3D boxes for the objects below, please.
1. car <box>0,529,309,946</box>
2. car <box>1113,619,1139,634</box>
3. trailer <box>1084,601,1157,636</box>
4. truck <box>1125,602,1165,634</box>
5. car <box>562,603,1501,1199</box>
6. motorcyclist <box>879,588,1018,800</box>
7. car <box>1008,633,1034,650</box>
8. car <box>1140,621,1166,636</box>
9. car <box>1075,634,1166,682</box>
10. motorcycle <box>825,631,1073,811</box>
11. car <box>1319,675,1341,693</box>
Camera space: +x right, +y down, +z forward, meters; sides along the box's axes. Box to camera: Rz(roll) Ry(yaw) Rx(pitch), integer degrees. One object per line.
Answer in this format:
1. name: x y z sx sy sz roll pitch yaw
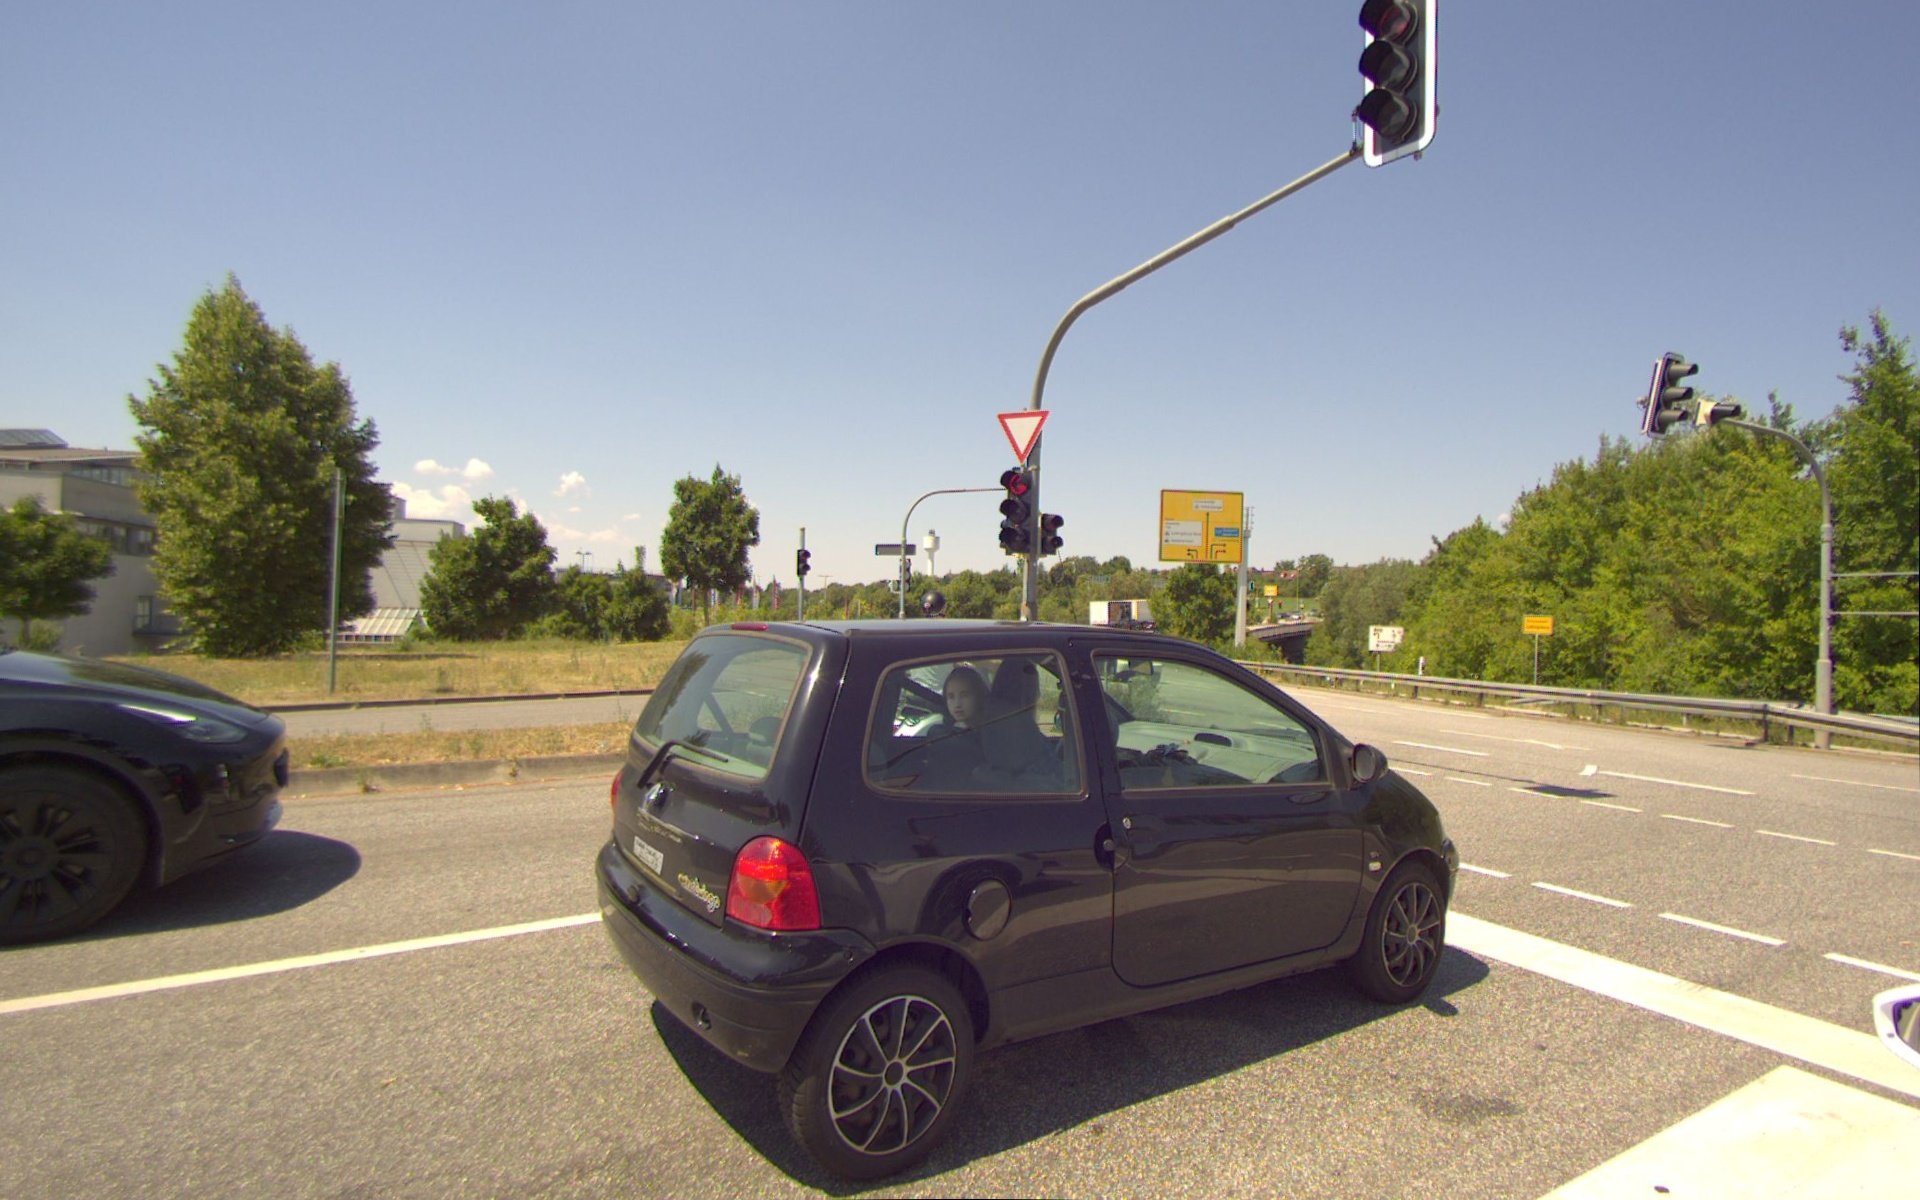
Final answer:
1. car: -5.264 0.494 3.938 4.462 1.622 1.862 2 0 -36
2. car: 20.944 3.361 126.285 1.852 1.755 3.991 1 0 31
3. trailer: 21.425 2.344 132.911 3.188 4.305 15.357 1 1 35
4. truck: 25.683 2.422 139.226 3.188 4.305 6.217 1 1 35
5. car: 0.393 0.774 3.817 3.267 1.426 1.609 2 -1 -34
6. motorcyclist: -0.093 0.709 7.891 0.838 1.560 0.607 3 0 -34
7. car: 5.867 4.017 96.424 1.775 1.452 3.932 4 -2 13
8. car: 23.927 3.541 124.512 1.851 1.644 3.989 1 1 33
9. car: 5.594 1.993 35.461 1.620 1.413 3.979 5 -2 -15
10. motorcycle: -0.046 0.909 7.914 1.921 1.255 0.572 3 -1 -35
11. car: 35.346 8.019 96.002 1.776 1.452 4.415 4 -2 20
